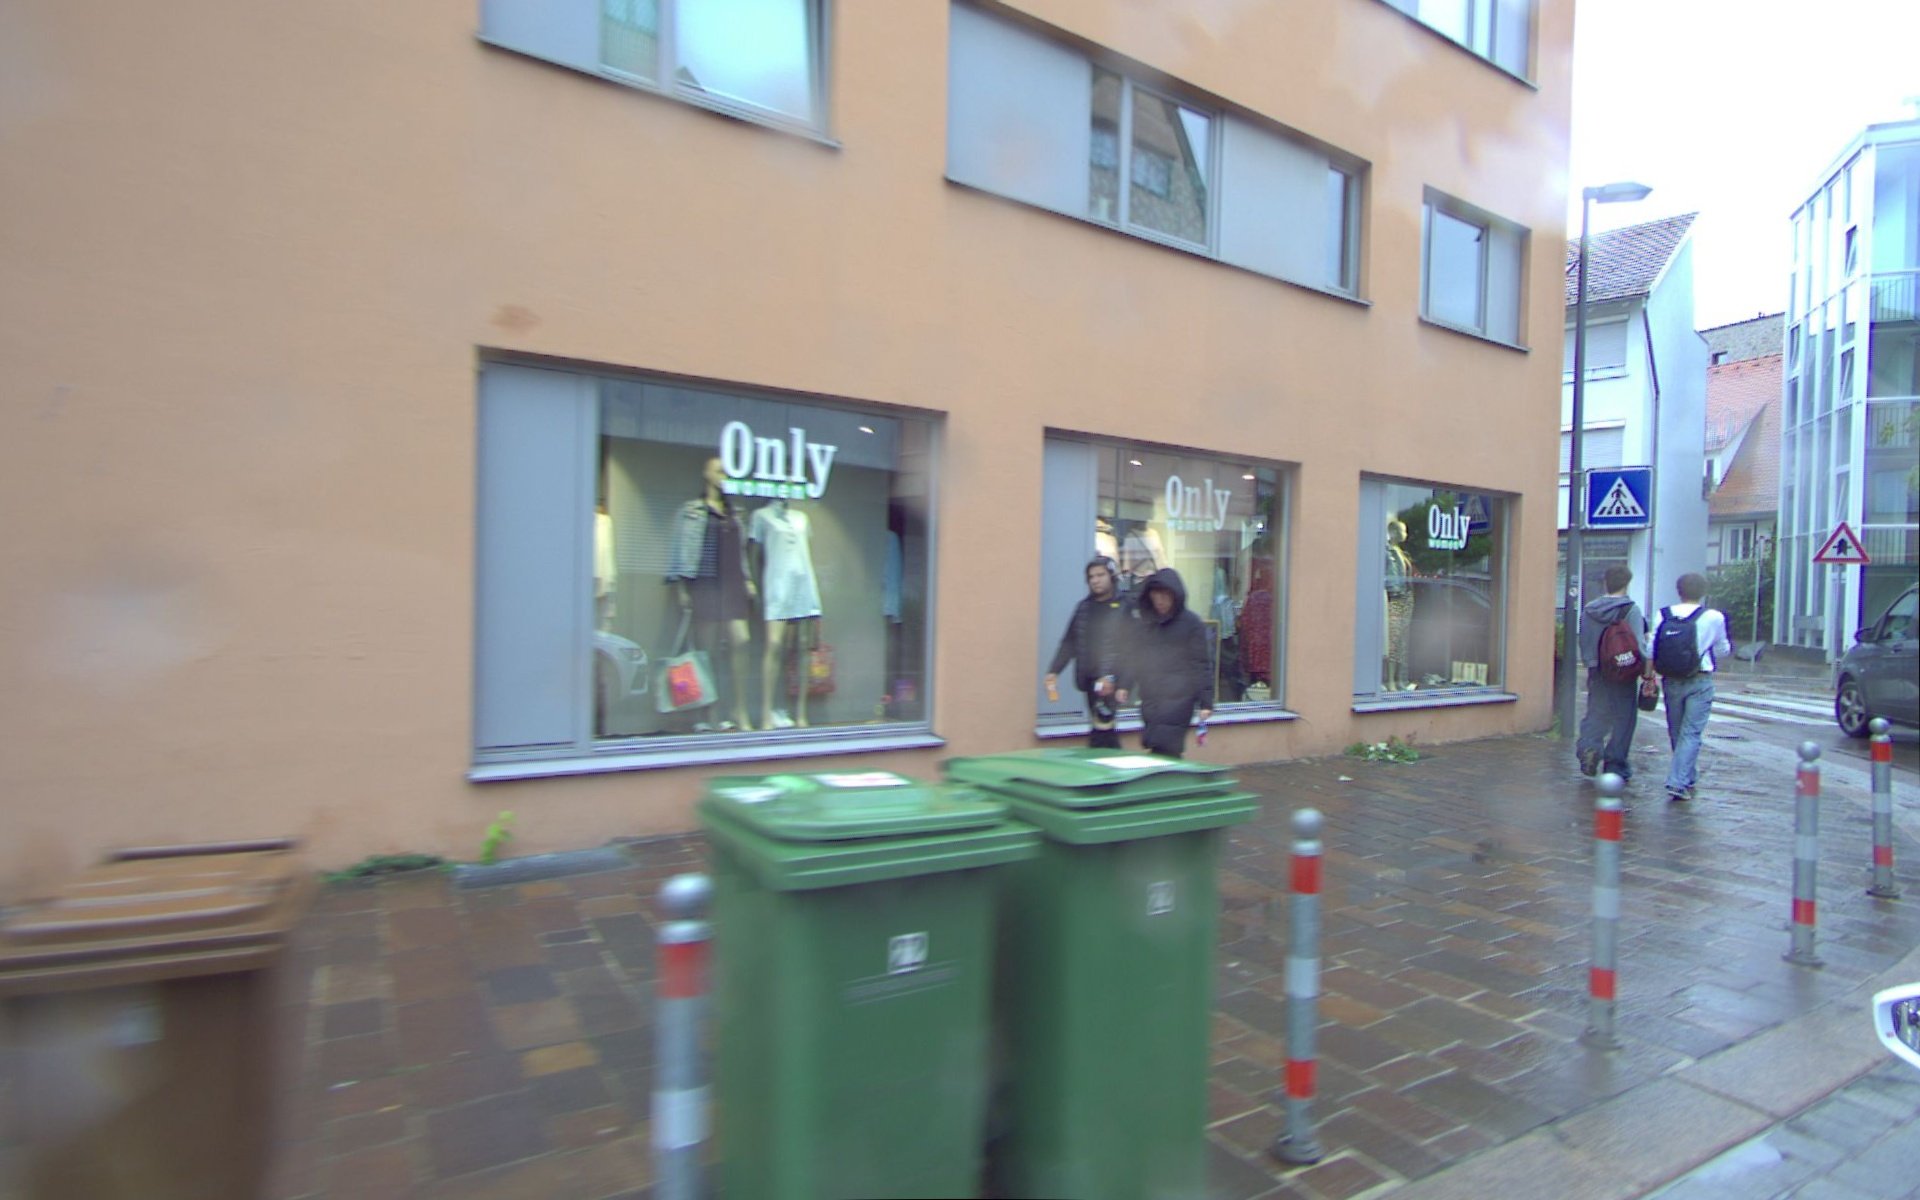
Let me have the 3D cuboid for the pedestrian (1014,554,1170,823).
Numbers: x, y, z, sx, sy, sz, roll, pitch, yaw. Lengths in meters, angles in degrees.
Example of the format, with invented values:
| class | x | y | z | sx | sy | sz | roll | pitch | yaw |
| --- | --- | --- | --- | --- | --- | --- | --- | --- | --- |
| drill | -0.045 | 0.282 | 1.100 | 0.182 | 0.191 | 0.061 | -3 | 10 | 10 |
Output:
| class | x | y | z | sx | sy | sz | roll | pitch | yaw |
| --- | --- | --- | --- | --- | --- | --- | --- | --- | --- |
| pedestrian | 0.903 | 0.569 | 6.926 | 0.800 | 1.735 | 0.619 | 1 | 2 | -31 |

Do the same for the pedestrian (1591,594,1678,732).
| class | x | y | z | sx | sy | sz | roll | pitch | yaw |
| --- | --- | --- | --- | --- | --- | --- | --- | --- | --- |
| pedestrian | 8.300 | 0.747 | 12.360 | 0.677 | 1.631 | 0.655 | 0 | 1 | -34 |

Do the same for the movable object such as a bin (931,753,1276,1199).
| class | x | y | z | sx | sy | sz | roll | pitch | yaw |
| --- | --- | --- | --- | --- | --- | --- | --- | --- | --- |
| movable object such as a bin | 0.350 | 0.977 | 2.574 | 0.603 | 1.050 | 0.653 | 1 | -1 | -33 |

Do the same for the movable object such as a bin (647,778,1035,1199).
| class | x | y | z | sx | sy | sz | roll | pitch | yaw |
| --- | --- | --- | --- | --- | --- | --- | --- | --- | --- |
| movable object such as a bin | -0.281 | 0.987 | 2.178 | 0.603 | 1.050 | 0.652 | 1 | 0 | -33 |

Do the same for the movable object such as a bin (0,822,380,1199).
| class | x | y | z | sx | sy | sz | roll | pitch | yaw |
| --- | --- | --- | --- | --- | --- | --- | --- | --- | --- |
| movable object such as a bin | -1.400 | 0.962 | 1.868 | 0.474 | 0.939 | 0.580 | 1 | 1 | -23 |

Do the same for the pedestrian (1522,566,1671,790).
| class | x | y | z | sx | sy | sz | roll | pitch | yaw |
| --- | --- | --- | --- | --- | --- | --- | --- | --- | --- |
| pedestrian | 5.549 | 0.642 | 8.756 | 1.046 | 1.824 | 0.688 | 1 | 0 | -32 |

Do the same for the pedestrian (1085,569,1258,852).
| class | x | y | z | sx | sy | sz | roll | pitch | yaw |
| --- | --- | --- | --- | --- | --- | --- | --- | --- | --- |
| pedestrian | 1.335 | 0.652 | 6.403 | 0.737 | 1.661 | 0.711 | 1 | 2 | -31 |

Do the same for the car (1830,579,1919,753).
| class | x | y | z | sx | sy | sz | roll | pitch | yaw |
| --- | --- | --- | --- | --- | --- | --- | --- | --- | --- |
| car | 10.859 | 0.698 | 10.085 | 1.916 | 1.805 | 4.722 | 1 | 1 | 25 |

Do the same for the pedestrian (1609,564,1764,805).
| class | x | y | z | sx | sy | sz | roll | pitch | yaw |
| --- | --- | --- | --- | --- | --- | --- | --- | --- | --- |
| pedestrian | 5.918 | 0.650 | 8.182 | 1.049 | 1.831 | 0.660 | 1 | 0 | -32 |
